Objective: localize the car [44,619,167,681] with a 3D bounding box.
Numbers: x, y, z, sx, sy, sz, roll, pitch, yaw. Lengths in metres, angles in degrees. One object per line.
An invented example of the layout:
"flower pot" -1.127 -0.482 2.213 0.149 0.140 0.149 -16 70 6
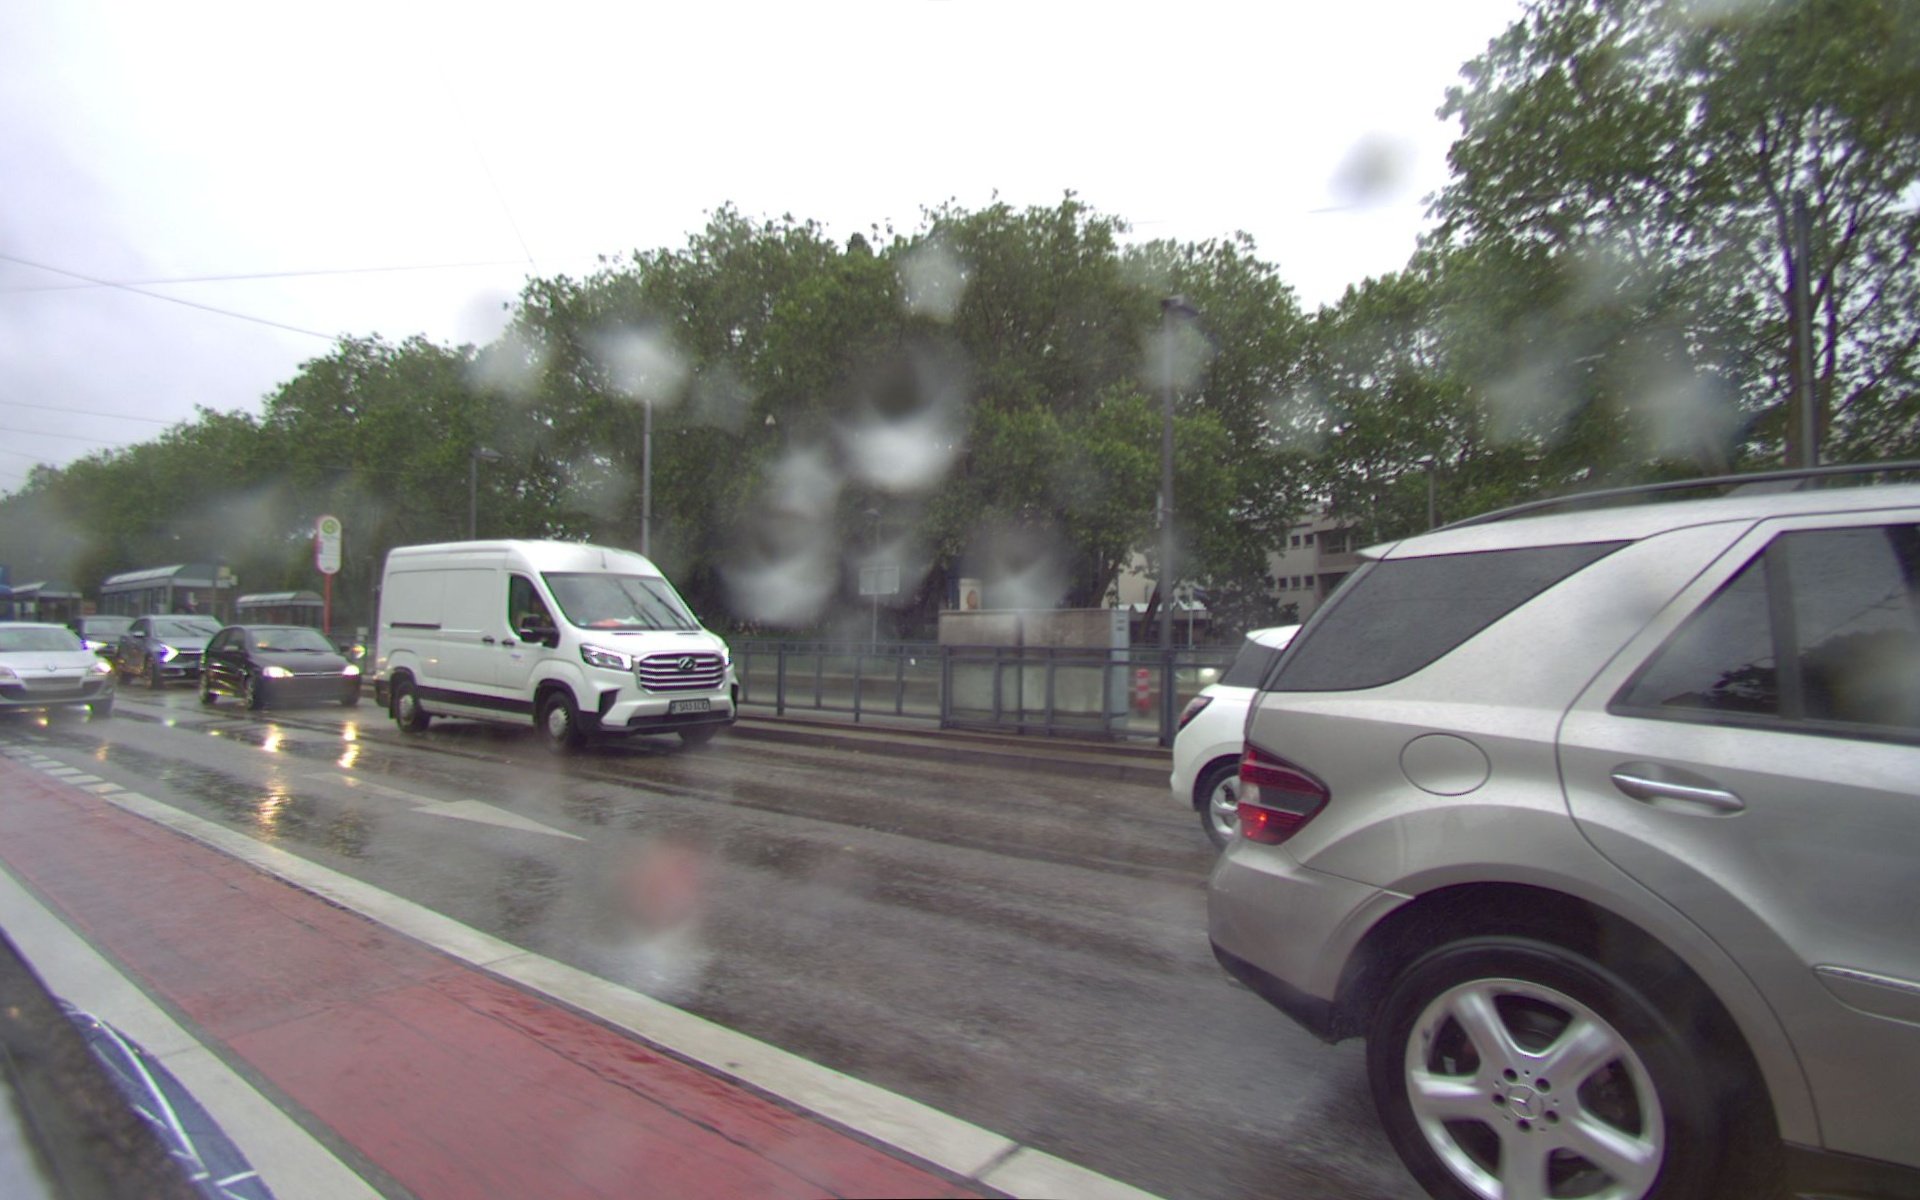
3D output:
"car" -24.646 1.428 29.138 4.184 1.659 1.890 -2 -2 38

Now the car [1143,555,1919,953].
"car" 3.284 0.691 5.780 4.071 1.599 1.783 -3 -3 41

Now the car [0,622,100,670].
"car" -29.314 1.460 32.414 4.184 1.418 1.890 -2 -2 38

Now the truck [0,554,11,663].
"truck" -41.650 0.461 41.830 8.343 4.309 2.387 -2 -2 39

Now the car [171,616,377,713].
"car" -12.324 1.101 18.078 4.550 1.525 1.764 -2 -2 38

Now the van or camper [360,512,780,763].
"van or camper" -5.094 0.476 12.703 5.961 2.490 2.154 -2 -3 38

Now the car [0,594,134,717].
"car" -15.099 0.868 16.224 4.260 1.755 1.952 -2 -2 37

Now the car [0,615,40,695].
"car" -20.726 1.144 20.989 4.664 1.561 1.888 -3 -2 41

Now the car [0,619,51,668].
"car" -34.061 1.552 36.161 4.189 1.659 1.888 -3 -2 42

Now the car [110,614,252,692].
"car" -18.094 1.198 23.446 4.245 1.647 1.824 -3 -2 41

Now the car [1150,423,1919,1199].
"car" 2.926 0.495 2.040 4.677 1.659 1.888 -2 -2 41
